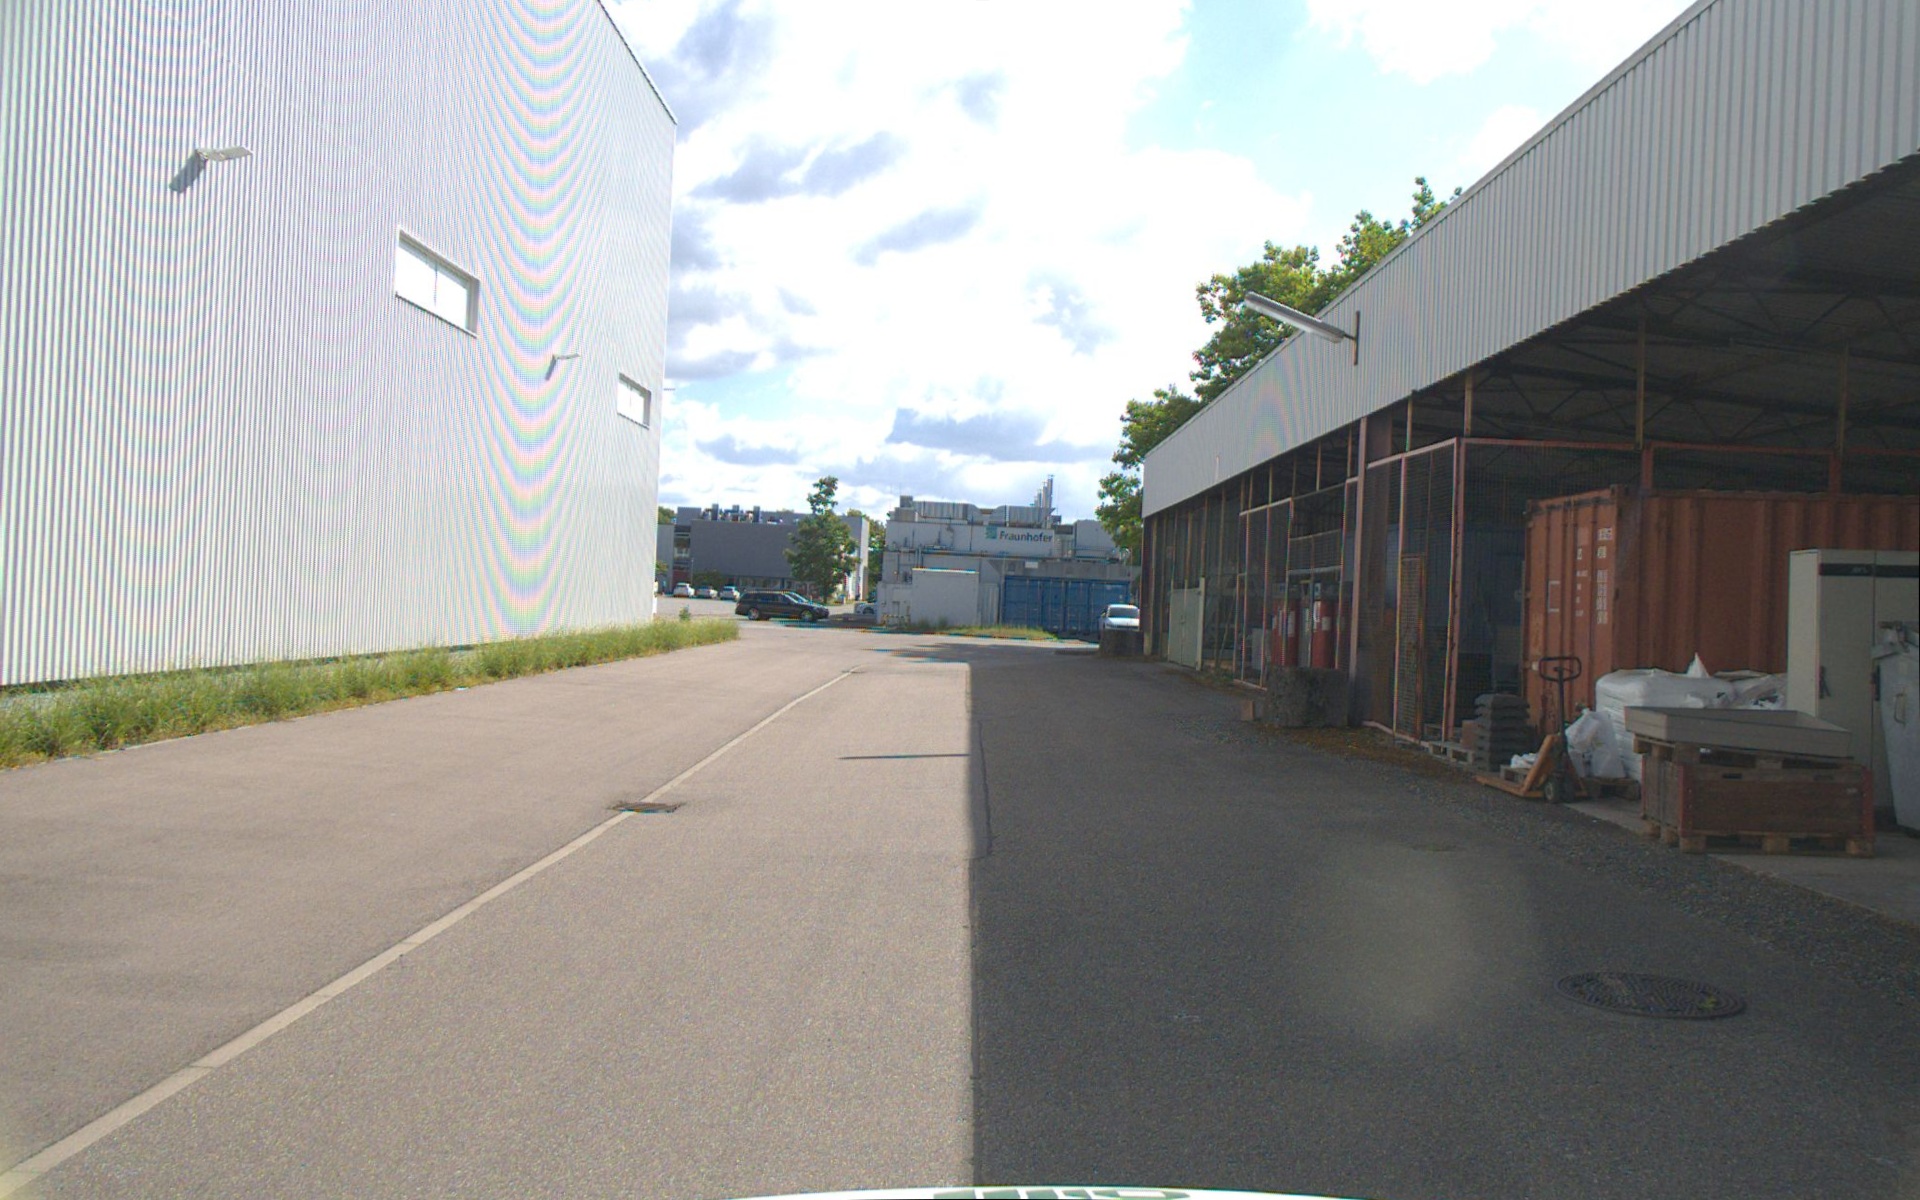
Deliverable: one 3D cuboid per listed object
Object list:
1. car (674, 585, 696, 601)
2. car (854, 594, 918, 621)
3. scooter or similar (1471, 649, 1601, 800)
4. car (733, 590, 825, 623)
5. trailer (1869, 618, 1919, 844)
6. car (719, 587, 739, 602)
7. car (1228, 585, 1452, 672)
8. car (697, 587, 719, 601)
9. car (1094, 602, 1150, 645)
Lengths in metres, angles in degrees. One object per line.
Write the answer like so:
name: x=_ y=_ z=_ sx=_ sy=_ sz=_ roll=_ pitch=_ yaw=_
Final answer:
car: x=-30.187 y=-0.761 z=181.826 sx=1.840 sy=1.719 sz=4.033 roll=1 pitch=0 yaw=-2
car: x=-5.054 y=0.509 z=112.765 sx=4.192 sy=1.596 sz=1.987 roll=2 pitch=-2 yaw=0
scooter or similar: x=4.789 y=1.006 z=13.845 sx=0.510 sy=1.154 sz=1.592 roll=2 pitch=-1 yaw=0
car: x=-9.263 y=0.349 z=84.994 sx=4.437 sy=1.468 sz=1.987 roll=2 pitch=-2 yaw=0
trailer: x=7.339 y=0.888 z=10.684 sx=2.050 sy=1.488 sz=1.642 roll=2 pitch=-1 yaw=3
car: x=-25.393 y=-0.615 z=181.925 sx=1.840 sy=1.564 sz=4.033 roll=1 pitch=0 yaw=-2
car: x=9.600 y=0.710 z=42.043 sx=5.065 sy=1.952 sz=2.276 roll=2 pitch=-1 yaw=-5
car: x=-27.673 y=-0.649 z=181.689 sx=1.840 sy=1.564 sz=4.033 roll=1 pitch=0 yaw=-2
car: x=7.079 y=1.001 z=72.492 sx=1.940 sy=1.621 sz=4.340 roll=3 pitch=1 yaw=0
